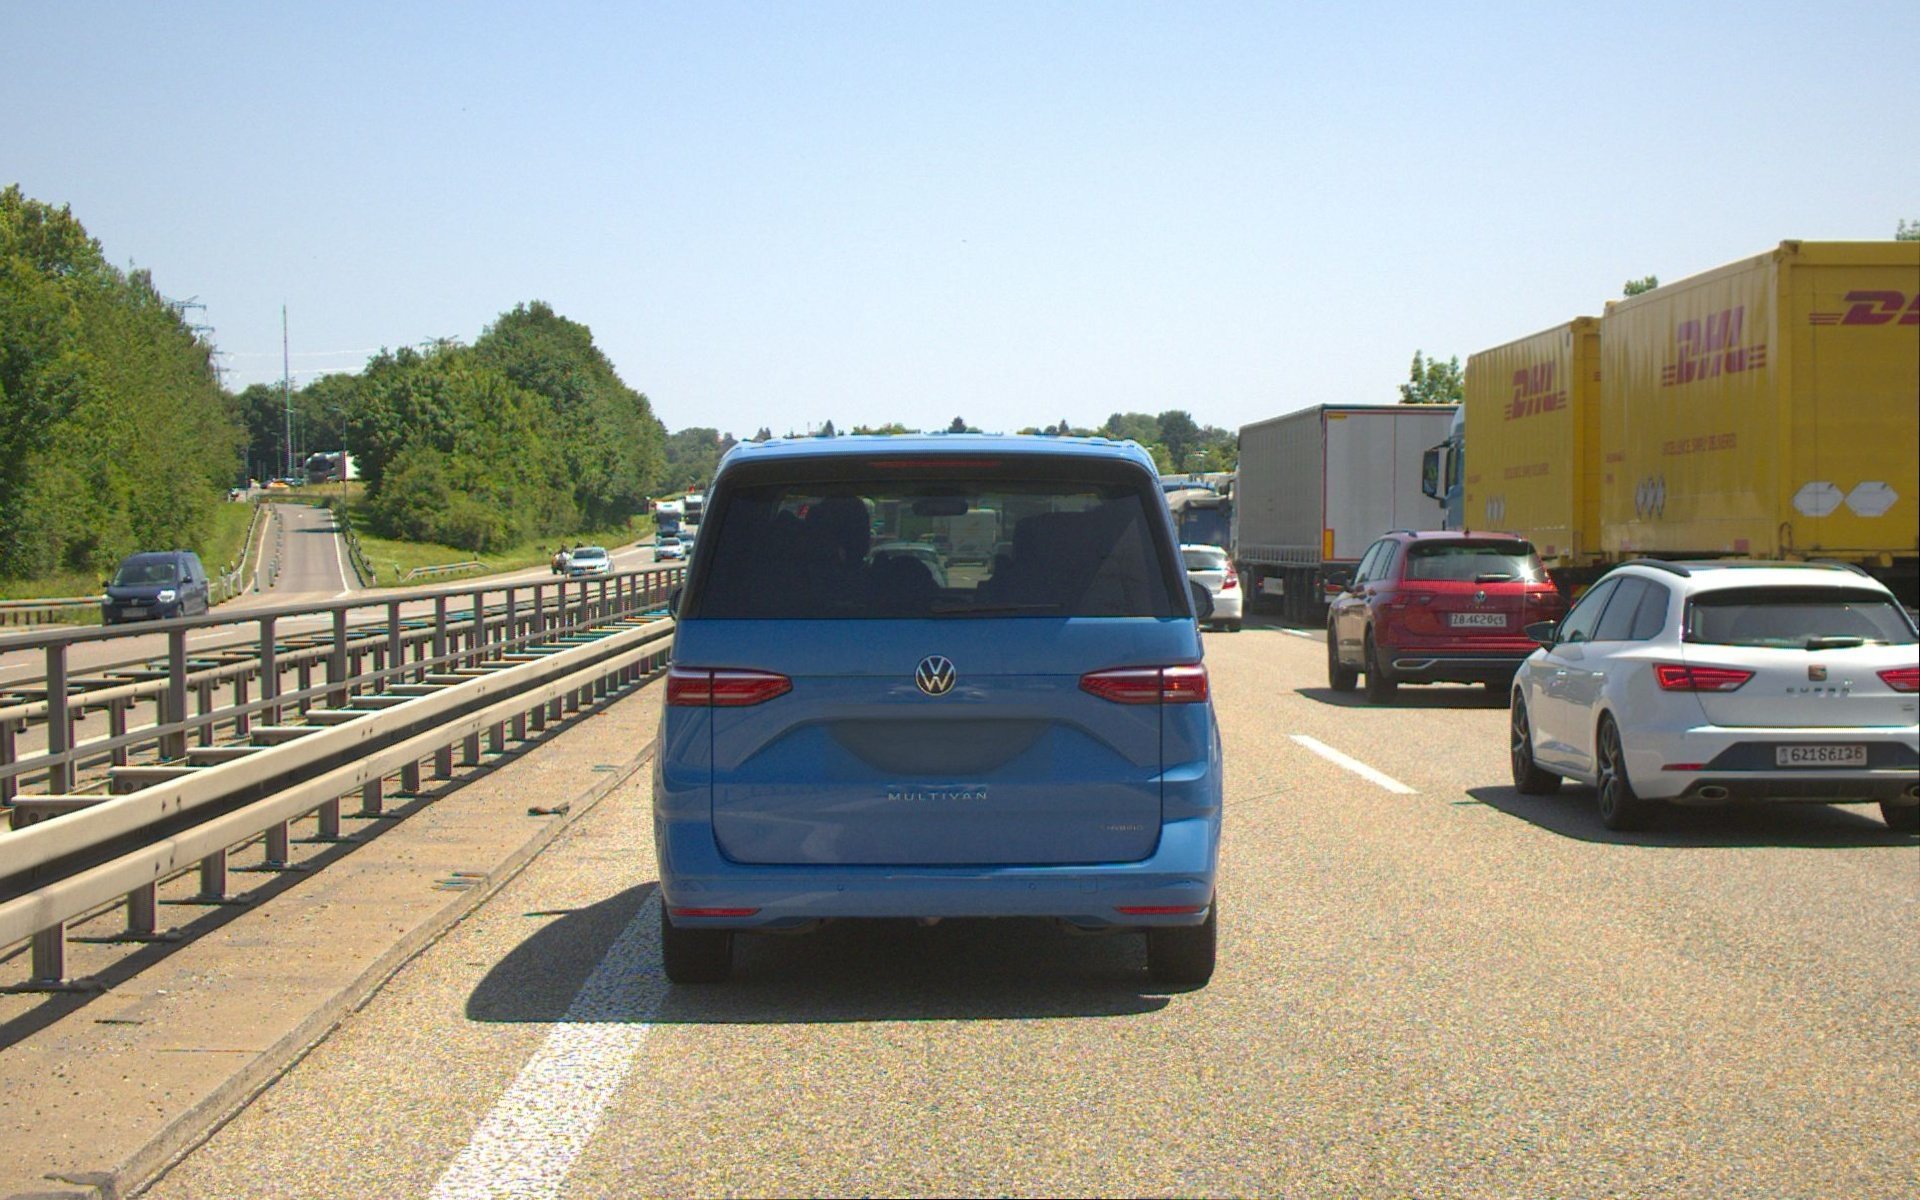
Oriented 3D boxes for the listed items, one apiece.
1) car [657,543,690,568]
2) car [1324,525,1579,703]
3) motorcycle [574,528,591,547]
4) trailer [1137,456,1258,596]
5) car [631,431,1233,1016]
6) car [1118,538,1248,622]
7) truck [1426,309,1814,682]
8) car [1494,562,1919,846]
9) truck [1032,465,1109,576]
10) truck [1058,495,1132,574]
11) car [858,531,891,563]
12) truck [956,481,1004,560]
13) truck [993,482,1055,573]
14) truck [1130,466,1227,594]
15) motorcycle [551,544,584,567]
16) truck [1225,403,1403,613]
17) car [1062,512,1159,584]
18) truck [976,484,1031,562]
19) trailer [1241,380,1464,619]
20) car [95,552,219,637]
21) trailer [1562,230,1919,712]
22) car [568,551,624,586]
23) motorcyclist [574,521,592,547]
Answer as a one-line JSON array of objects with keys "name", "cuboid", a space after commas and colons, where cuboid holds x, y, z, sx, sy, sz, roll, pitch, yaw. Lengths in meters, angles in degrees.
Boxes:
[{"name": "car", "cuboid": [-17.794, -2.769, 213.855, 1.715, 1.429, 4.176, -3, 1, -1]}, {"name": "car", "cuboid": [4.669, 0.094, 33.183, 1.851, 1.603, 4.000, 0, 1, -1]}, {"name": "motorcycle", "cuboid": [-21.833, -3.628, 198.839, 0.702, 1.067, 2.306, -1, 2, -1]}, {"name": "trailer", "cuboid": [6.657, -2.033, 97.848, 2.379, 3.731, 11.189, 1, 0, -1]}, {"name": "car", "cuboid": [-0.109, 0.357, 12.766, 1.882, 1.831, 4.000, 0, 1, -1]}, {"name": "car", "cuboid": [3.818, -0.367, 59.415, 1.838, 1.409, 4.000, 0, 1, -2]}, {"name": "truck", "cuboid": [7.937, -1.180, 42.836, 2.722, 4.041, 10.336, 1, 0, 0]}, {"name": "car", "cuboid": [4.201, 0.491, 19.065, 1.781, 1.382, 4.188, 0, 1, -1]}, {"name": "truck", "cuboid": [5.189, -3.693, 163.479, 2.833, 5.023, 11.147, 1, 0, -2]}, {"name": "truck", "cuboid": [5.684, -2.711, 145.787, 2.355, 3.207, 9.742, 1, 0, -2]}, {"name": "car", "cuboid": [-5.413, -3.358, 217.806, 1.993, 2.007, 4.000, 1, 0, -1]}, {"name": "truck", "cuboid": [1.383, -5.548, 243.920, 2.833, 5.354, 12.556, 1, 0, -2]}, {"name": "truck", "cuboid": [3.612, -4.086, 197.330, 2.833, 5.023, 11.818, 1, 0, -2]}, {"name": "truck", "cuboid": [6.544, -2.078, 103.519, 2.367, 3.709, 6.034, 1, 0, -1]}, {"name": "motorcycle", "cuboid": [-20.197, -2.303, 177.061, 1.366, 1.095, 2.576, -3, 1, -1]}, {"name": "truck", "cuboid": [7.225, -1.829, 71.014, 2.768, 4.081, 6.984, 1, 0, -1]}, {"name": "car", "cuboid": [3.453, -1.192, 79.357, 1.715, 1.581, 3.822, -1, 1, -5]}, {"name": "truck", "cuboid": [2.795, -5.033, 224.283, 2.833, 4.869, 13.222, -2, 1, -2]}, {"name": "trailer", "cuboid": [7.320, -1.798, 65.685, 2.755, 4.132, 11.312, 1, 0, -1]}, {"name": "car", "cuboid": [-17.995, -0.153, 77.190, 1.782, 1.779, 4.302, -2, 1, -1]}, {"name": "trailer", "cuboid": [8.006, -1.100, 33.182, 2.701, 4.010, 8.931, 1, 0, 0]}, {"name": "car", "cuboid": [-15.190, -1.308, 143.578, 1.910, 1.389, 4.165, -2, 0, -1]}, {"name": "motorcyclist", "cuboid": [-21.824, -3.825, 198.866, 0.898, 1.436, 1.082, -1, 2, -1]}]
